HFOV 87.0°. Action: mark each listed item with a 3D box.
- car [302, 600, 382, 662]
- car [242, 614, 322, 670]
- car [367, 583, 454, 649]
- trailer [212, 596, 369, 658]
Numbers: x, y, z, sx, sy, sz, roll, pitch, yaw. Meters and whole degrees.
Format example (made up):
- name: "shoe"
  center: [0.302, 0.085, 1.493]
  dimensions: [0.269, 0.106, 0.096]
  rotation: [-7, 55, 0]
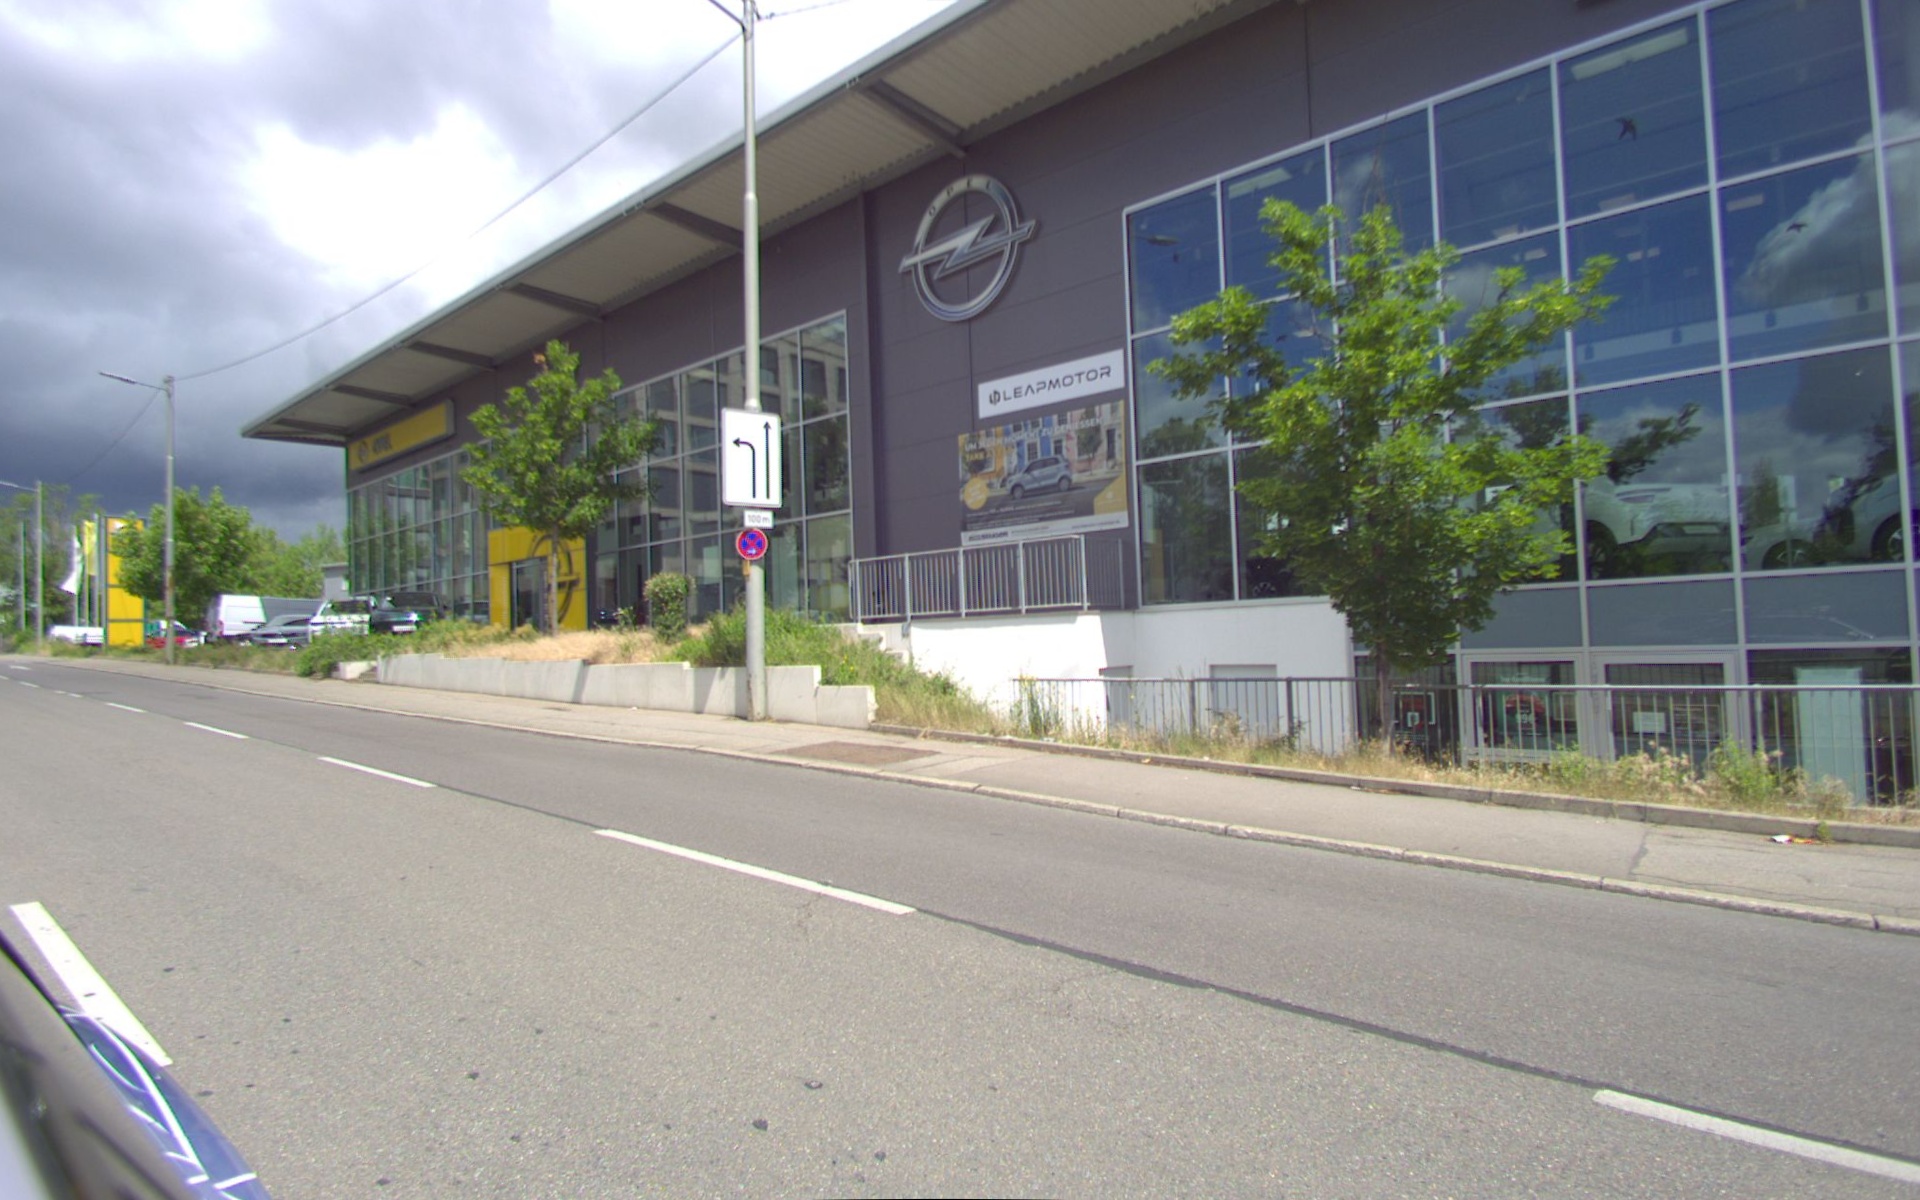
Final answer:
- name: "car"
  center: [-19.213, 0.949, 31.600]
  dimensions: [1.966, 1.807, 4.012]
  rotation: [1, -2, -29]
- name: "car"
  center: [-23.478, 1.409, 35.163]
  dimensions: [1.966, 1.807, 4.012]
  rotation: [1, -1, -29]
- name: "car"
  center: [-15.687, 0.473, 28.812]
  dimensions: [1.966, 1.741, 4.011]
  rotation: [1, -2, -31]
- name: "trailer"
  center: [-27.424, 1.088, 41.617]
  dimensions: [1.998, 2.367, 5.011]
  rotation: [-1, -2, 39]
